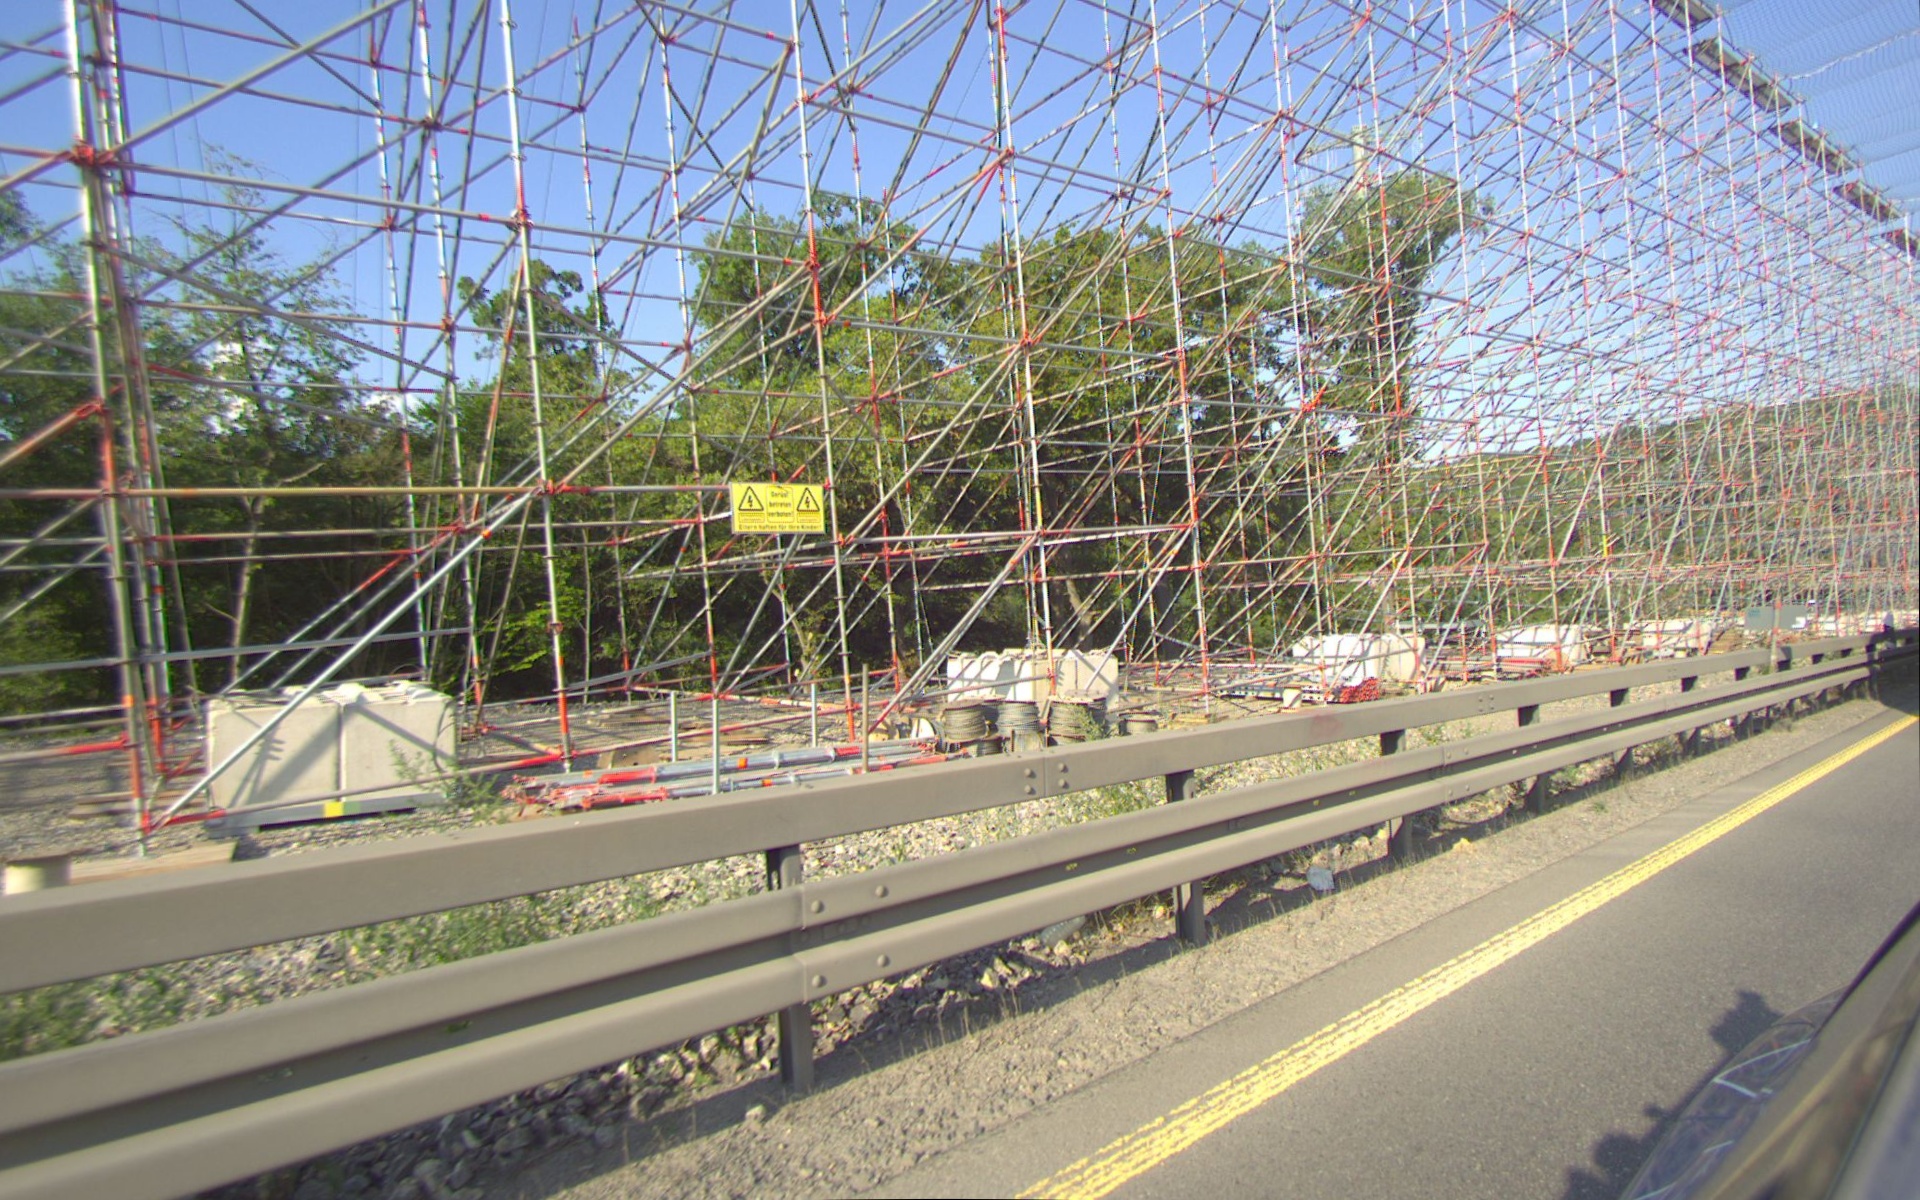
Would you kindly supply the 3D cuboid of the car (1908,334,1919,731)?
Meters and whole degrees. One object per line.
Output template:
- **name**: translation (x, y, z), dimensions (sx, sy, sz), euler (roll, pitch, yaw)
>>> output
- **car**: translation (14.069, -0.746, 12.087), dimensions (8.131, 4.167, 2.858), euler (-1, 0, -39)
